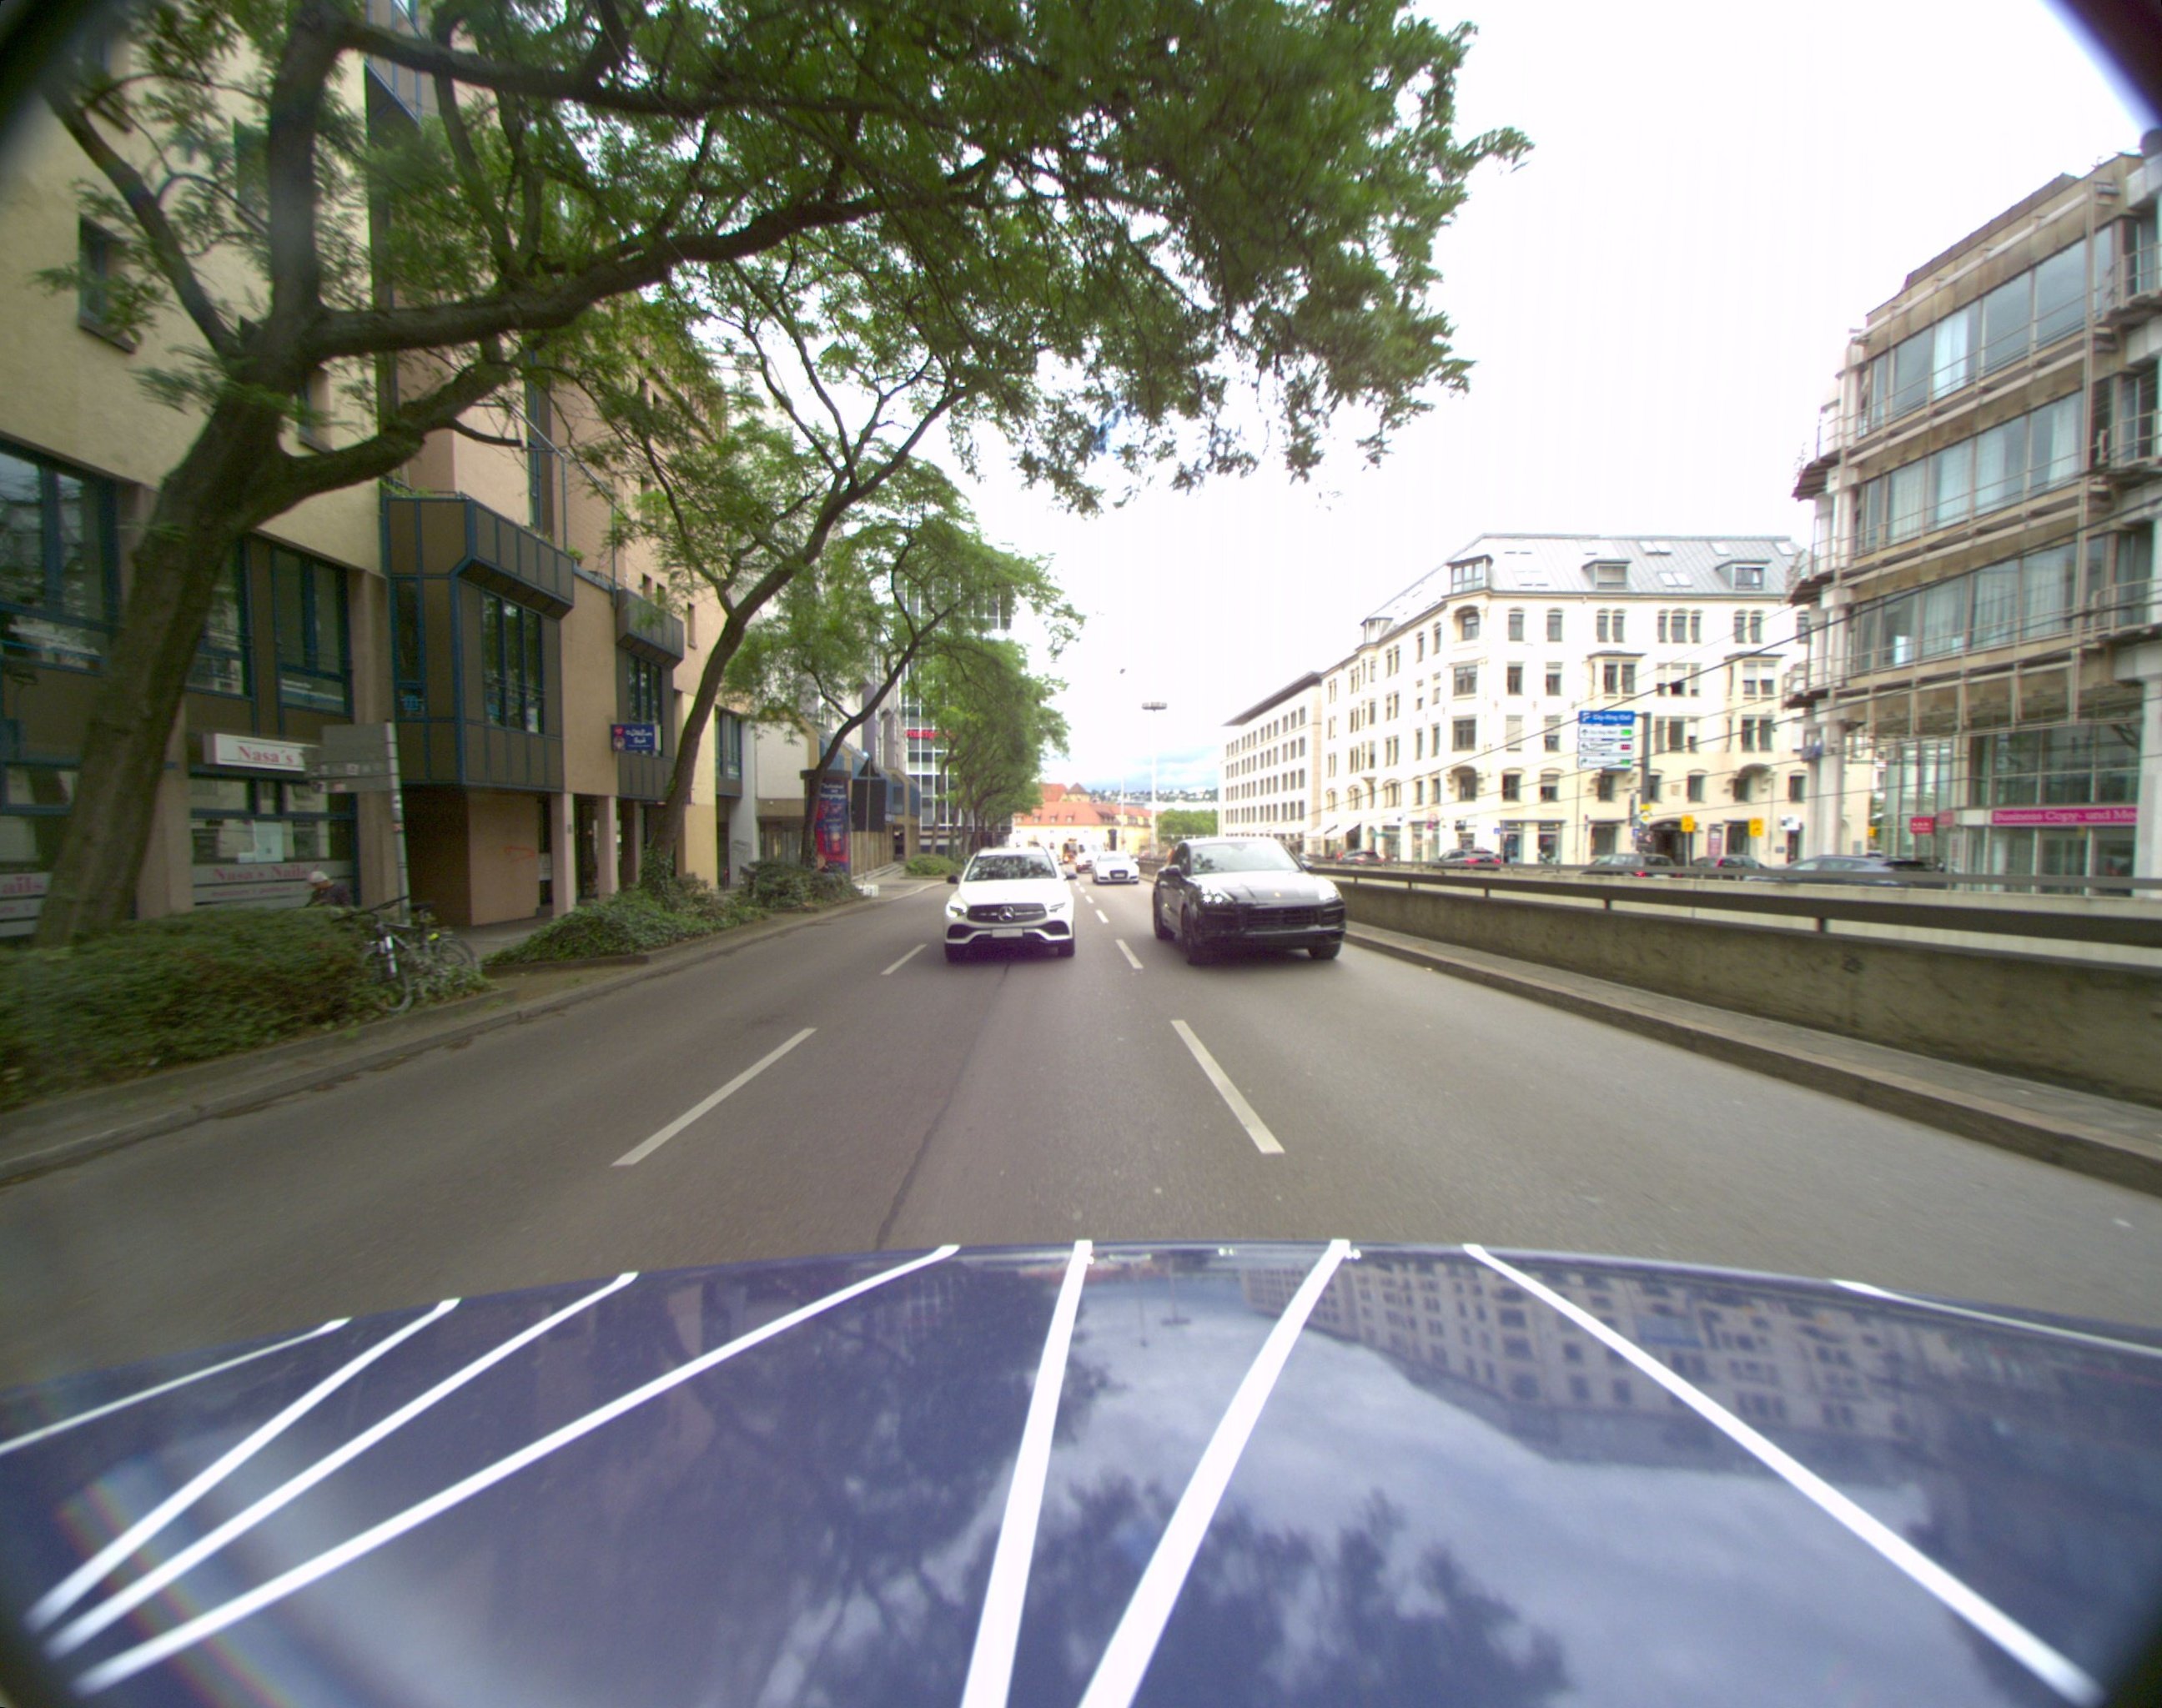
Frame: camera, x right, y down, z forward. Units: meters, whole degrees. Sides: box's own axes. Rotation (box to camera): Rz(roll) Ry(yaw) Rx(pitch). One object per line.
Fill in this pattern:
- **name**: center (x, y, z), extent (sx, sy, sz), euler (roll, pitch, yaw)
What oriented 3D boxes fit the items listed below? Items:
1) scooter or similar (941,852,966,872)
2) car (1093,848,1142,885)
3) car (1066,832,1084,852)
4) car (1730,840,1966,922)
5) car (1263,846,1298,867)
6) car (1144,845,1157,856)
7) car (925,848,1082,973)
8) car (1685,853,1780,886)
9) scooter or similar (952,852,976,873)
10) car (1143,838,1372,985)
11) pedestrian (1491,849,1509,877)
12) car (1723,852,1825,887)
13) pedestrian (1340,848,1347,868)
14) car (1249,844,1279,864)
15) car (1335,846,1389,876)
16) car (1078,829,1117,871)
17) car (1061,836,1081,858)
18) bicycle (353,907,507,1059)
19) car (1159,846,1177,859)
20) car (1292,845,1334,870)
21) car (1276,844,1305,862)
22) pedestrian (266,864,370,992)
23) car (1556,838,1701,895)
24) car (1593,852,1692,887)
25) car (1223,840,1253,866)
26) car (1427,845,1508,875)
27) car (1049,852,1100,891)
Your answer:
- **scooter or similar**: center (-9.415, 0.584, 56.053), extent (1.600, 1.426, 0.730), euler (-2, 2, -32)
- **car**: center (1.605, 0.503, 34.731), extent (1.949, 1.521, 3.999), euler (-2, 1, -1)
- **car**: center (-0.802, -1.690, 107.416), extent (2.503, 2.793, 5.727), euler (-2, 1, 0)
- **car**: center (20.709, 0.630, 20.861), extent (1.999, 1.904, 4.377), euler (-2, 2, -1)
- **car**: center (19.612, 0.199, 74.869), extent (1.999, 2.002, 4.789), euler (-2, 1, -1)
- **car**: center (12.224, -0.604, 133.705), extent (1.998, 2.002, 3.999), euler (0, 1, 0)
- **car**: center (-1.084, 0.741, 12.161), extent (2.060, 1.599, 3.925), euler (-2, 1, -1)
- **car**: center (33.587, 0.793, 39.210), extent (3.599, 1.652, 1.649), euler (0, 1, -5)
- **scooter or similar**: center (-8.441, 0.586, 54.884), extent (1.536, 1.426, 0.686), euler (-2, 2, -32)
- **car**: center (2.289, 0.664, 11.574), extent (2.088, 1.665, 5.351), euler (-2, 0, -1)
- **pedestrian**: center (25.593, 0.565, 46.399), extent (0.712, 1.701, 0.687), euler (-1, 0, -12)
- **car**: center (33.665, 0.724, 36.974), extent (3.599, 1.652, 1.649), euler (0, 1, -5)
- **pedestrian**: center (22.871, 0.347, 66.260), extent (0.510, 1.769, 0.578), euler (0, 1, 23)
- **car**: center (19.502, 0.003, 81.193), extent (1.999, 2.002, 4.789), euler (-2, 1, -1)
- **car**: center (19.999, 0.439, 54.278), extent (1.999, 2.002, 4.789), euler (-2, 1, -1)
- **car**: center (1.195, -0.305, 53.512), extent (2.294, 2.723, 4.755), euler (-1, 1, 6)
- **car**: center (-1.318, -0.961, 99.979), extent (2.503, 2.793, 5.727), euler (-2, 1, 0)
- **bicycle**: center (-6.253, 1.181, 7.396), extent (0.362, 1.194, 1.569), euler (0, 1, -10)
- **car**: center (13.551, -0.268, 118.402), extent (1.999, 2.002, 4.789), euler (-2, 1, -1)
- **car**: center (20.059, 0.234, 65.850), extent (1.999, 2.002, 4.789), euler (-2, 1, -1)
- **car**: center (22.810, -0.118, 83.017), extent (1.999, 2.002, 3.999), euler (0, 1, -1)
- **pedestrian**: center (-10.483, 0.994, 10.463), extent (0.711, 1.701, 0.688), euler (-1, 0, 5)
- **car**: center (20.724, 0.410, 29.063), extent (1.999, 1.952, 4.789), euler (-1, 1, -2)
- **car**: center (27.076, 0.731, 36.703), extent (3.649, 1.652, 1.649), euler (0, 1, -4)
- **car**: center (19.199, -0.169, 93.391), extent (2.370, 3.043, 5.468), euler (-2, 1, -1)
- **car**: center (20.544, 0.276, 40.657), extent (1.818, 1.551, 4.641), euler (0, 1, -3)
- **car**: center (-0.289, 0.667, 31.080), extent (1.890, 1.378, 4.608), euler (-2, 1, -1)
